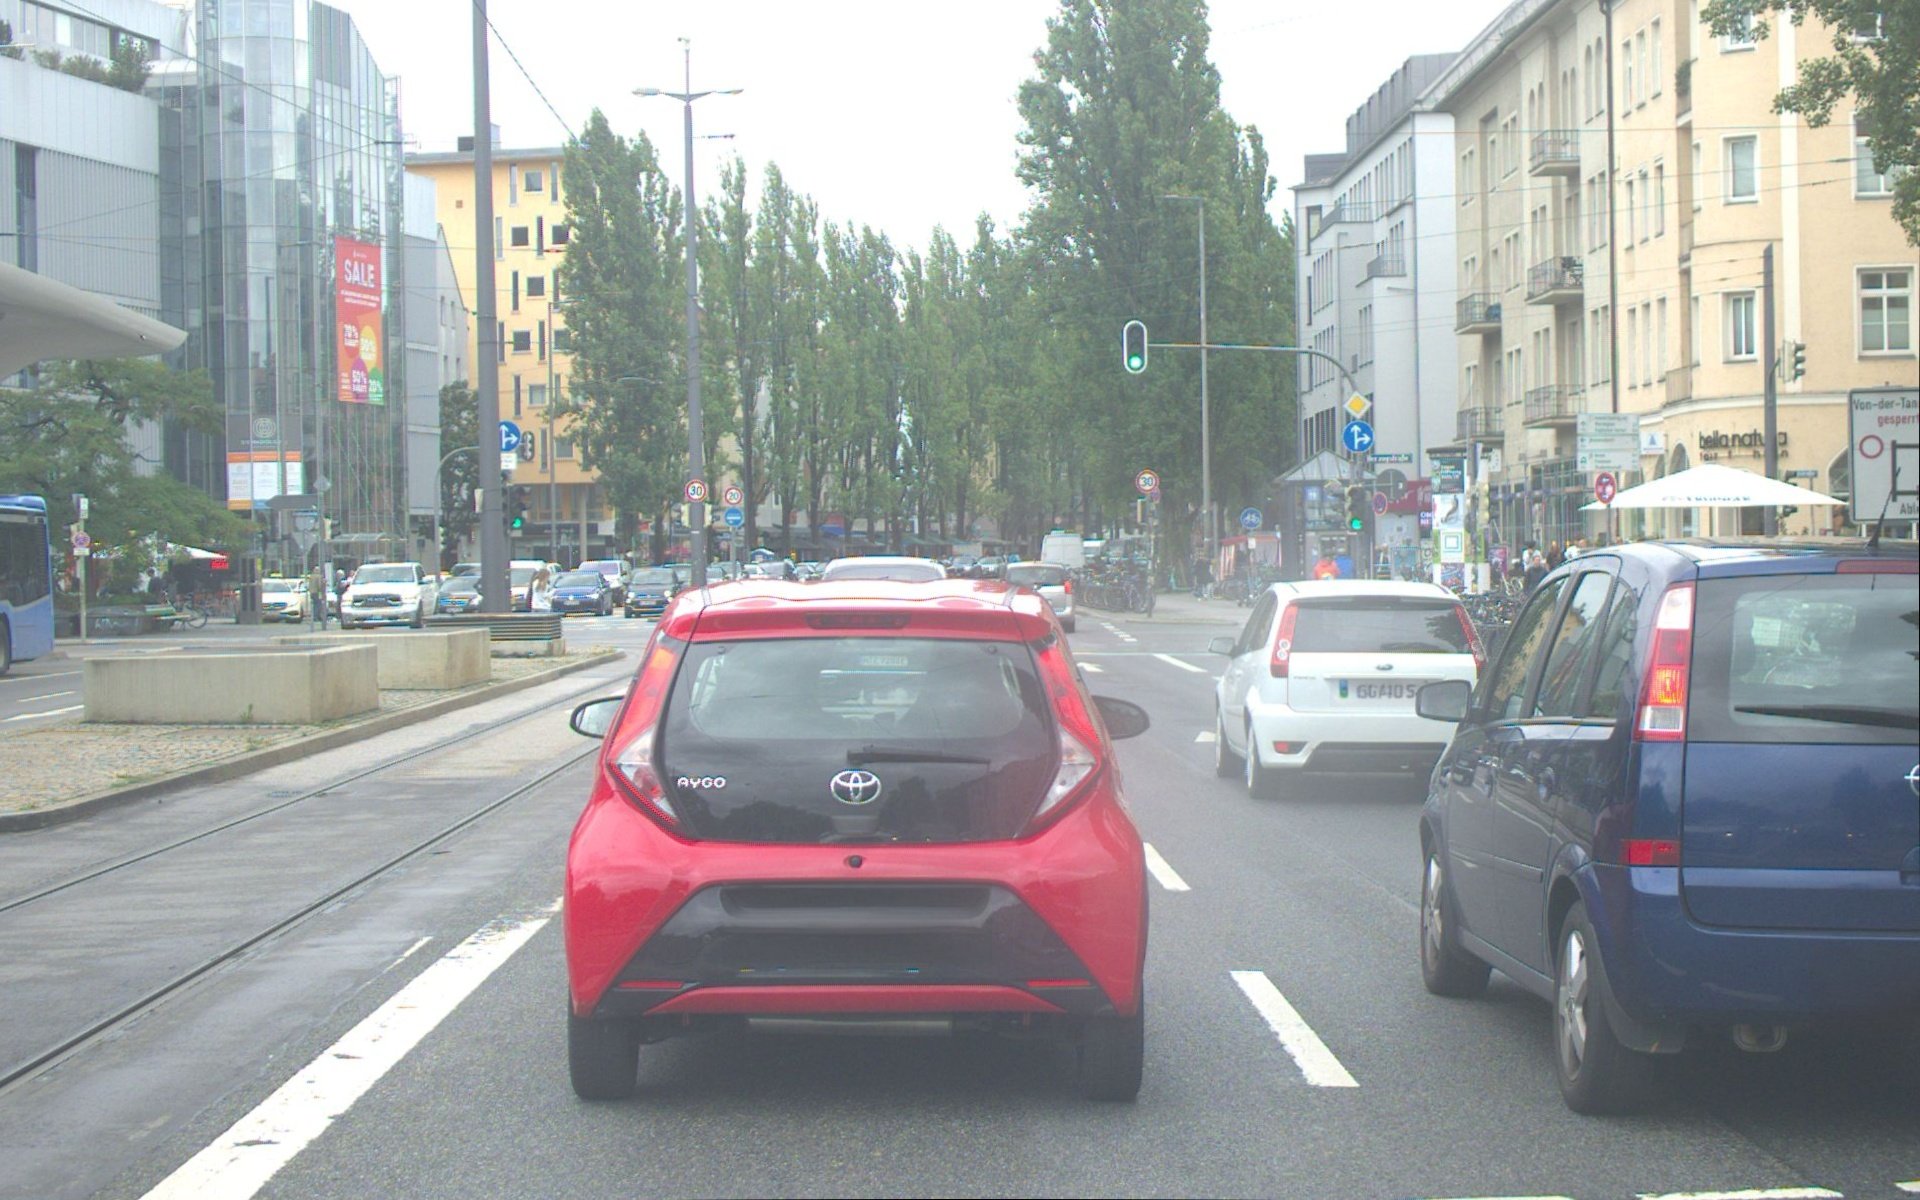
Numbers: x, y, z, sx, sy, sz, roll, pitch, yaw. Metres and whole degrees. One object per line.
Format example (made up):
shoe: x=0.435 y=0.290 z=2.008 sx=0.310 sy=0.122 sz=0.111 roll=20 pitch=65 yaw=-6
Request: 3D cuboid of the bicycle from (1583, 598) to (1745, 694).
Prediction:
bicycle: x=7.776 y=0.499 z=38.020 sx=1.841 sy=0.992 sz=0.324 roll=2 pitch=3 yaw=42

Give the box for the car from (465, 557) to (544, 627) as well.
car: x=-12.631 y=-0.235 z=95.480 sx=1.786 sy=1.849 sz=4.219 roll=-2 pitch=1 yaw=-3

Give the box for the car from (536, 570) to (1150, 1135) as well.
car: x=-0.296 y=0.651 z=10.624 sx=1.605 sy=1.456 sz=3.130 roll=1 pitch=1 yaw=1

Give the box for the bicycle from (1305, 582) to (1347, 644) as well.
bicycle: x=7.845 y=0.264 z=73.732 sx=0.614 sy=1.260 sz=2.520 roll=-1 pitch=1 yaw=0

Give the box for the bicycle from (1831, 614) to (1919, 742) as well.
bicycle: x=7.872 y=0.639 z=27.593 sx=0.374 sy=0.992 sz=1.841 roll=-2 pitch=3 yaw=-39

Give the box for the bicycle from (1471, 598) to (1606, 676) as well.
bicycle: x=7.462 y=0.477 z=44.432 sx=1.841 sy=0.992 sz=0.324 roll=-1 pitch=1 yaw=44

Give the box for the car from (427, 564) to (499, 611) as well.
car: x=-15.270 y=-0.401 z=105.799 sx=1.672 sy=1.374 sz=4.614 roll=-1 pitch=1 yaw=-2

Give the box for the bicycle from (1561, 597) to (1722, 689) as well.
bicycle: x=7.799 y=0.481 z=39.384 sx=1.840 sy=0.992 sz=0.324 roll=1 pitch=2 yaw=36

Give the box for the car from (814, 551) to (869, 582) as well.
car: x=-6.156 y=-1.764 z=179.479 sx=1.994 sy=1.529 sz=4.586 roll=-1 pitch=1 yaw=10

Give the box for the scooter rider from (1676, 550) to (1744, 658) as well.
scooter rider: x=9.710 y=0.045 z=44.524 sx=0.700 sy=1.384 sz=0.643 roll=-1 pitch=1 yaw=-2

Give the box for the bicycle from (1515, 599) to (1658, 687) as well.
bicycle: x=7.588 y=0.516 z=41.708 sx=1.841 sy=0.992 sz=0.324 roll=2 pitch=3 yaw=44

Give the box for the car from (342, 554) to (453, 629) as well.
car: x=-15.007 y=-0.260 z=91.993 sx=2.175 sy=1.881 sz=6.157 roll=-1 pitch=1 yaw=-2

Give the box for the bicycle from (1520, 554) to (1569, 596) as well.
bicycle: x=15.110 y=-0.643 z=88.906 sx=0.494 sy=1.055 sz=1.867 roll=-1 pitch=1 yaw=-15

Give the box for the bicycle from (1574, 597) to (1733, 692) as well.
bicycle: x=7.788 y=0.491 z=38.673 sx=1.841 sy=0.992 sz=0.324 roll=2 pitch=3 yaw=42

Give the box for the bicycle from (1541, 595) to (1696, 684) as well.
bicycle: x=7.802 y=0.463 z=40.756 sx=1.840 sy=0.992 sz=0.324 roll=1 pitch=2 yaw=36

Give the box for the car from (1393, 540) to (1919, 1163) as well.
car: x=2.422 y=0.624 z=10.565 sx=1.703 sy=1.584 sz=3.556 roll=1 pitch=1 yaw=0

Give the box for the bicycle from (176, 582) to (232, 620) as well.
bicycle: x=-22.223 y=0.036 z=101.044 sx=1.574 sy=1.108 sz=0.373 roll=0 pitch=1 yaw=4

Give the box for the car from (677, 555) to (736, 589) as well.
car: x=-10.634 y=-1.180 z=144.243 sx=1.994 sy=1.407 sz=4.167 roll=1 pitch=1 yaw=2

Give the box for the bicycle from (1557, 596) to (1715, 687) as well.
bicycle: x=7.855 y=0.475 z=39.987 sx=1.840 sy=0.992 sz=0.324 roll=1 pitch=2 yaw=36

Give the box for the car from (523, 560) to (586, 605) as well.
car: x=-12.989 y=-0.588 z=110.400 sx=1.677 sy=1.391 sz=4.233 roll=-1 pitch=1 yaw=-2

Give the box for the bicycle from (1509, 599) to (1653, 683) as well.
bicycle: x=7.751 y=0.502 z=42.978 sx=1.840 sy=0.992 sz=0.324 roll=2 pitch=2 yaw=40

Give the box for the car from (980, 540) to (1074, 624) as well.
car: x=1.487 y=-0.432 z=78.058 sx=1.993 sy=1.831 sz=4.000 roll=-1 pitch=1 yaw=-1

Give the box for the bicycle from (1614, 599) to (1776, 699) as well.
bicycle: x=7.894 y=0.515 z=36.984 sx=0.324 sy=0.992 sz=1.841 roll=-2 pitch=3 yaw=-43

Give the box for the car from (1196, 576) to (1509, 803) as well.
car: x=2.632 y=0.559 z=23.746 sx=1.699 sy=1.421 sz=3.497 roll=1 pitch=1 yaw=-1

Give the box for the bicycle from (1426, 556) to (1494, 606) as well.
bicycle: x=12.257 y=-0.471 z=84.239 sx=1.568 sy=1.156 sz=0.525 roll=-2 pitch=2 yaw=3

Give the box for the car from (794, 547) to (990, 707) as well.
car: x=-0.730 y=0.248 z=37.355 sx=1.993 sy=1.612 sz=4.000 roll=-1 pitch=1 yaw=-1

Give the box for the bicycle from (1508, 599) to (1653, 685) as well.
bicycle: x=7.644 y=0.508 z=42.401 sx=1.840 sy=0.992 sz=0.324 roll=2 pitch=2 yaw=40

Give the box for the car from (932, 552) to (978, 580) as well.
car: x=-0.280 y=-2.114 z=213.659 sx=1.995 sy=1.722 sz=3.915 roll=-1 pitch=1 yaw=13

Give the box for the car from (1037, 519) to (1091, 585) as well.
car: x=4.369 y=-2.026 z=144.437 sx=2.107 sy=2.709 sz=4.804 roll=-1 pitch=1 yaw=0

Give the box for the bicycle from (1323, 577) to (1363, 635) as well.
bicycle: x=8.686 y=0.128 z=78.049 sx=0.614 sy=1.260 sz=2.520 roll=-1 pitch=1 yaw=0

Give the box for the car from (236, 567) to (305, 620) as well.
car: x=-22.084 y=-0.224 z=109.971 sx=1.993 sy=1.531 sz=4.416 roll=-2 pitch=1 yaw=-13

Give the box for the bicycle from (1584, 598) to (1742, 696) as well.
bicycle: x=7.672 y=0.502 z=37.578 sx=0.324 sy=0.992 sz=1.841 roll=-2 pitch=3 yaw=-44

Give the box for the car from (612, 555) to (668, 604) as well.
car: x=-9.771 y=-0.638 z=104.917 sx=1.545 sy=1.440 sz=3.540 roll=-1 pitch=1 yaw=-8

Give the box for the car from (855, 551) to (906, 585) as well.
car: x=-4.335 y=-1.754 z=188.771 sx=1.994 sy=1.685 sz=4.920 roll=5 pitch=2 yaw=7
